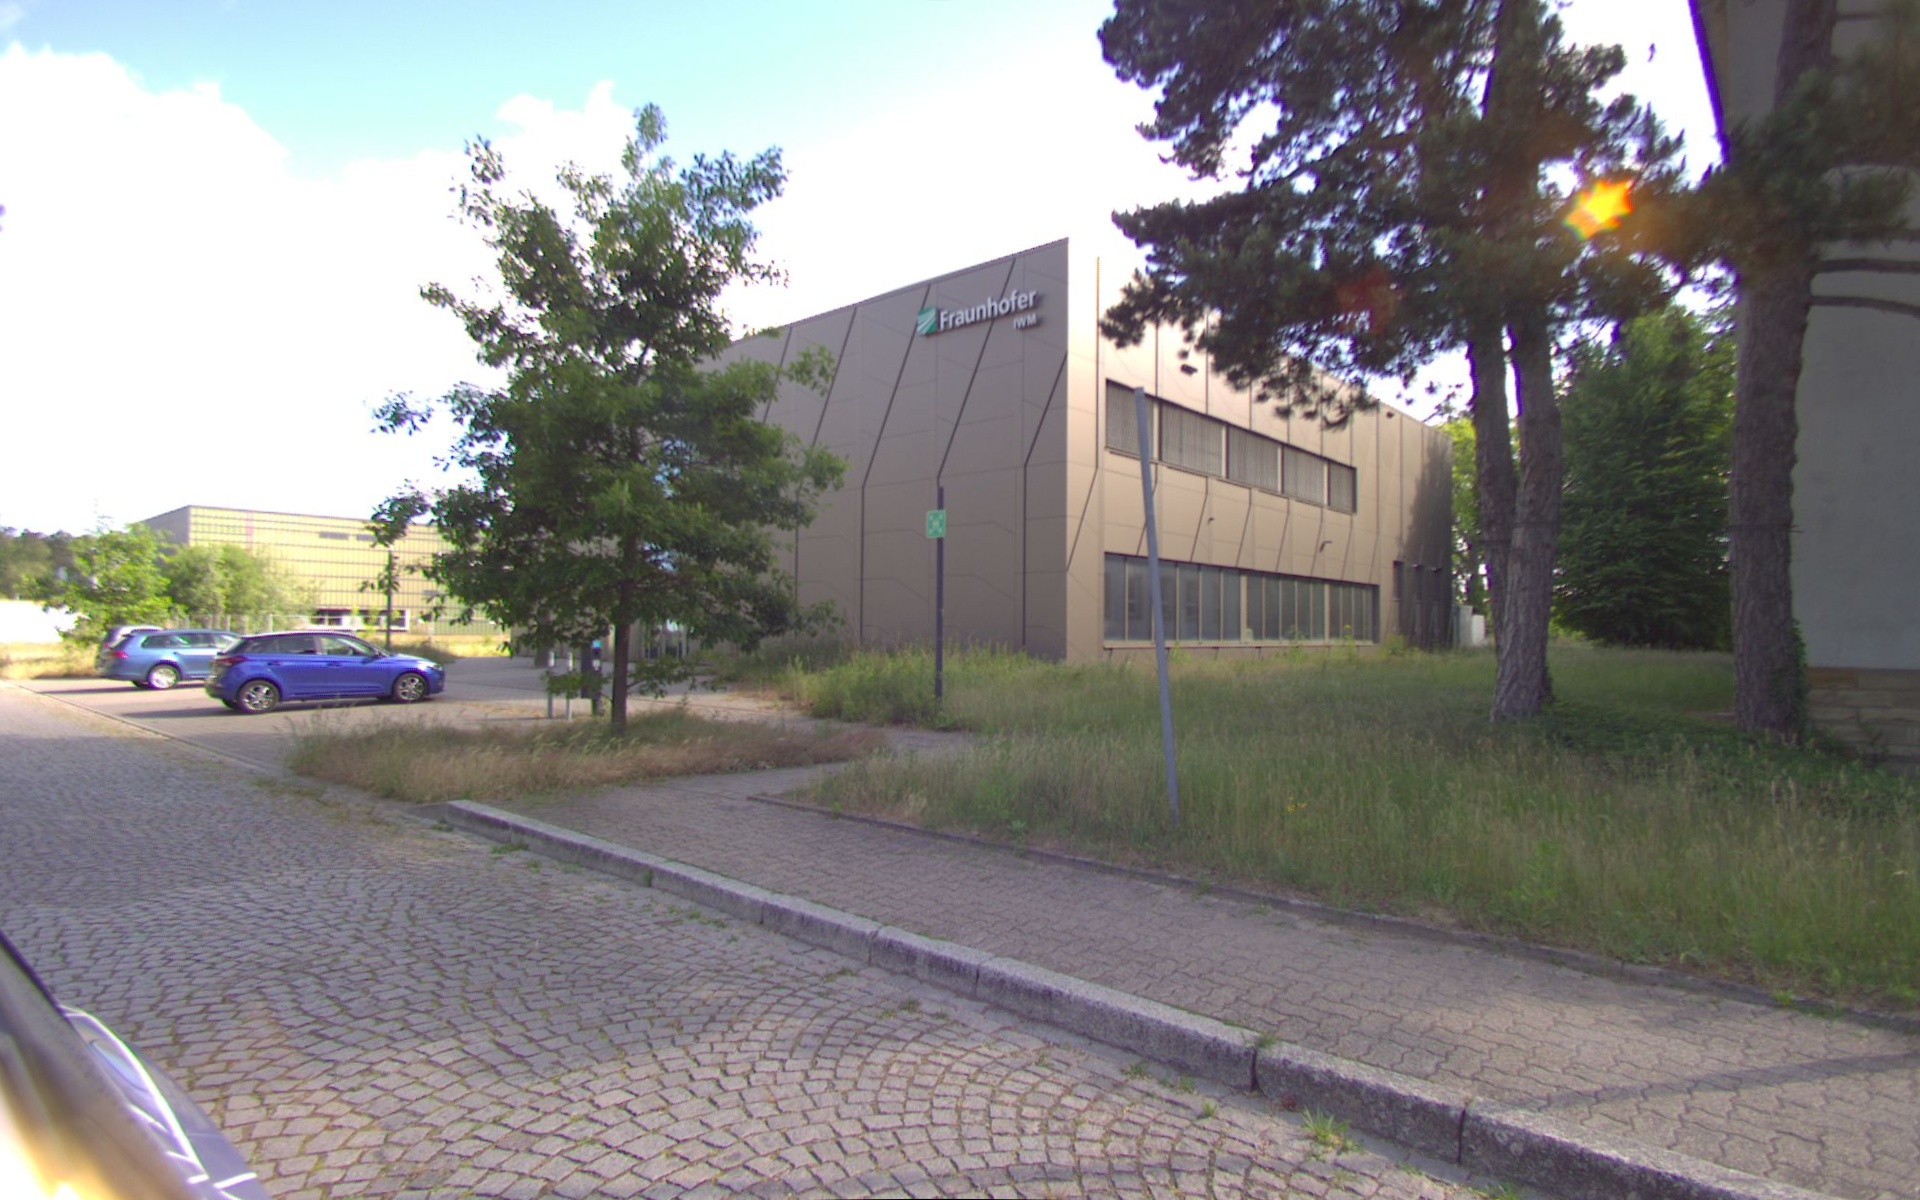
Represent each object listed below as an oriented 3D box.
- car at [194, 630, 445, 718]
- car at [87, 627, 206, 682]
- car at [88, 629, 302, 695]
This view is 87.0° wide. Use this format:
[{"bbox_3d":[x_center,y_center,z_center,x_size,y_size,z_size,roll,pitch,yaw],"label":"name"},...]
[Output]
[{"bbox_3d":[-12.451,1.367,19.838,1.735,1.479,3.865,-2,-1,44],"label":"car"},{"bbox_3d":[-24.965,1.623,31.106,1.480,1.580,2.619,-1,-1,40],"label":"car"},{"bbox_3d":[-19.574,1.525,26.050,1.733,1.485,4.127,-1,-1,39],"label":"car"}]
